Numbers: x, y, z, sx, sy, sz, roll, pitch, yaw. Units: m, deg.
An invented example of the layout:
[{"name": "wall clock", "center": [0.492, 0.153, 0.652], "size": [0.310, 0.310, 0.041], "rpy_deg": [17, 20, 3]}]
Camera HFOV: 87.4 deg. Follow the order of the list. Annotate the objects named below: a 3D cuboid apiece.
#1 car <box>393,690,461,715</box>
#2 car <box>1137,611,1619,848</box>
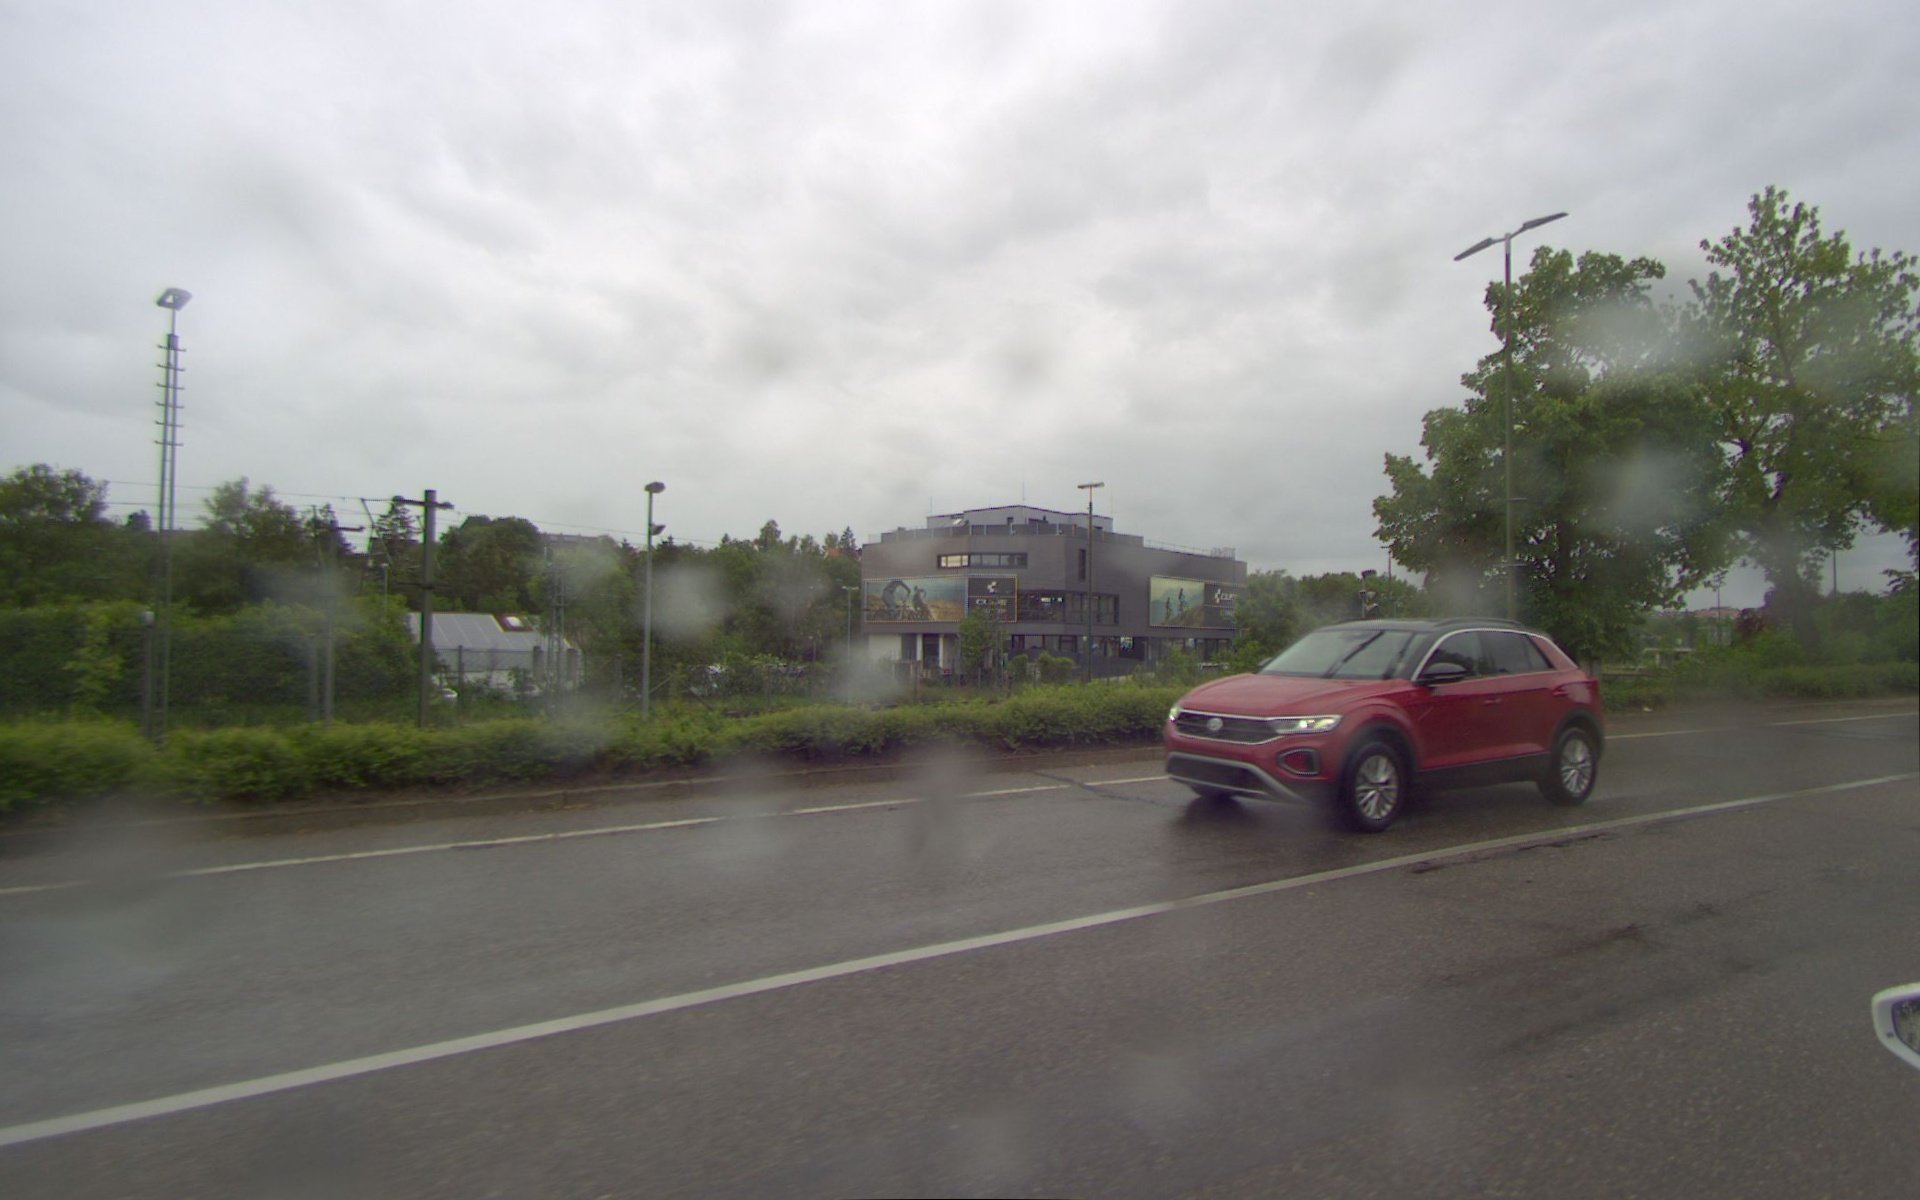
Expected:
[{"name": "car", "center": [-33.312, 6.395, 62.834], "size": [3.541, 1.428, 1.782], "rpy_deg": [2, -5, -37]}, {"name": "car", "center": [3.570, 0.886, 8.426], "size": [3.954, 1.556, 1.745], "rpy_deg": [0, -1, -31]}]
